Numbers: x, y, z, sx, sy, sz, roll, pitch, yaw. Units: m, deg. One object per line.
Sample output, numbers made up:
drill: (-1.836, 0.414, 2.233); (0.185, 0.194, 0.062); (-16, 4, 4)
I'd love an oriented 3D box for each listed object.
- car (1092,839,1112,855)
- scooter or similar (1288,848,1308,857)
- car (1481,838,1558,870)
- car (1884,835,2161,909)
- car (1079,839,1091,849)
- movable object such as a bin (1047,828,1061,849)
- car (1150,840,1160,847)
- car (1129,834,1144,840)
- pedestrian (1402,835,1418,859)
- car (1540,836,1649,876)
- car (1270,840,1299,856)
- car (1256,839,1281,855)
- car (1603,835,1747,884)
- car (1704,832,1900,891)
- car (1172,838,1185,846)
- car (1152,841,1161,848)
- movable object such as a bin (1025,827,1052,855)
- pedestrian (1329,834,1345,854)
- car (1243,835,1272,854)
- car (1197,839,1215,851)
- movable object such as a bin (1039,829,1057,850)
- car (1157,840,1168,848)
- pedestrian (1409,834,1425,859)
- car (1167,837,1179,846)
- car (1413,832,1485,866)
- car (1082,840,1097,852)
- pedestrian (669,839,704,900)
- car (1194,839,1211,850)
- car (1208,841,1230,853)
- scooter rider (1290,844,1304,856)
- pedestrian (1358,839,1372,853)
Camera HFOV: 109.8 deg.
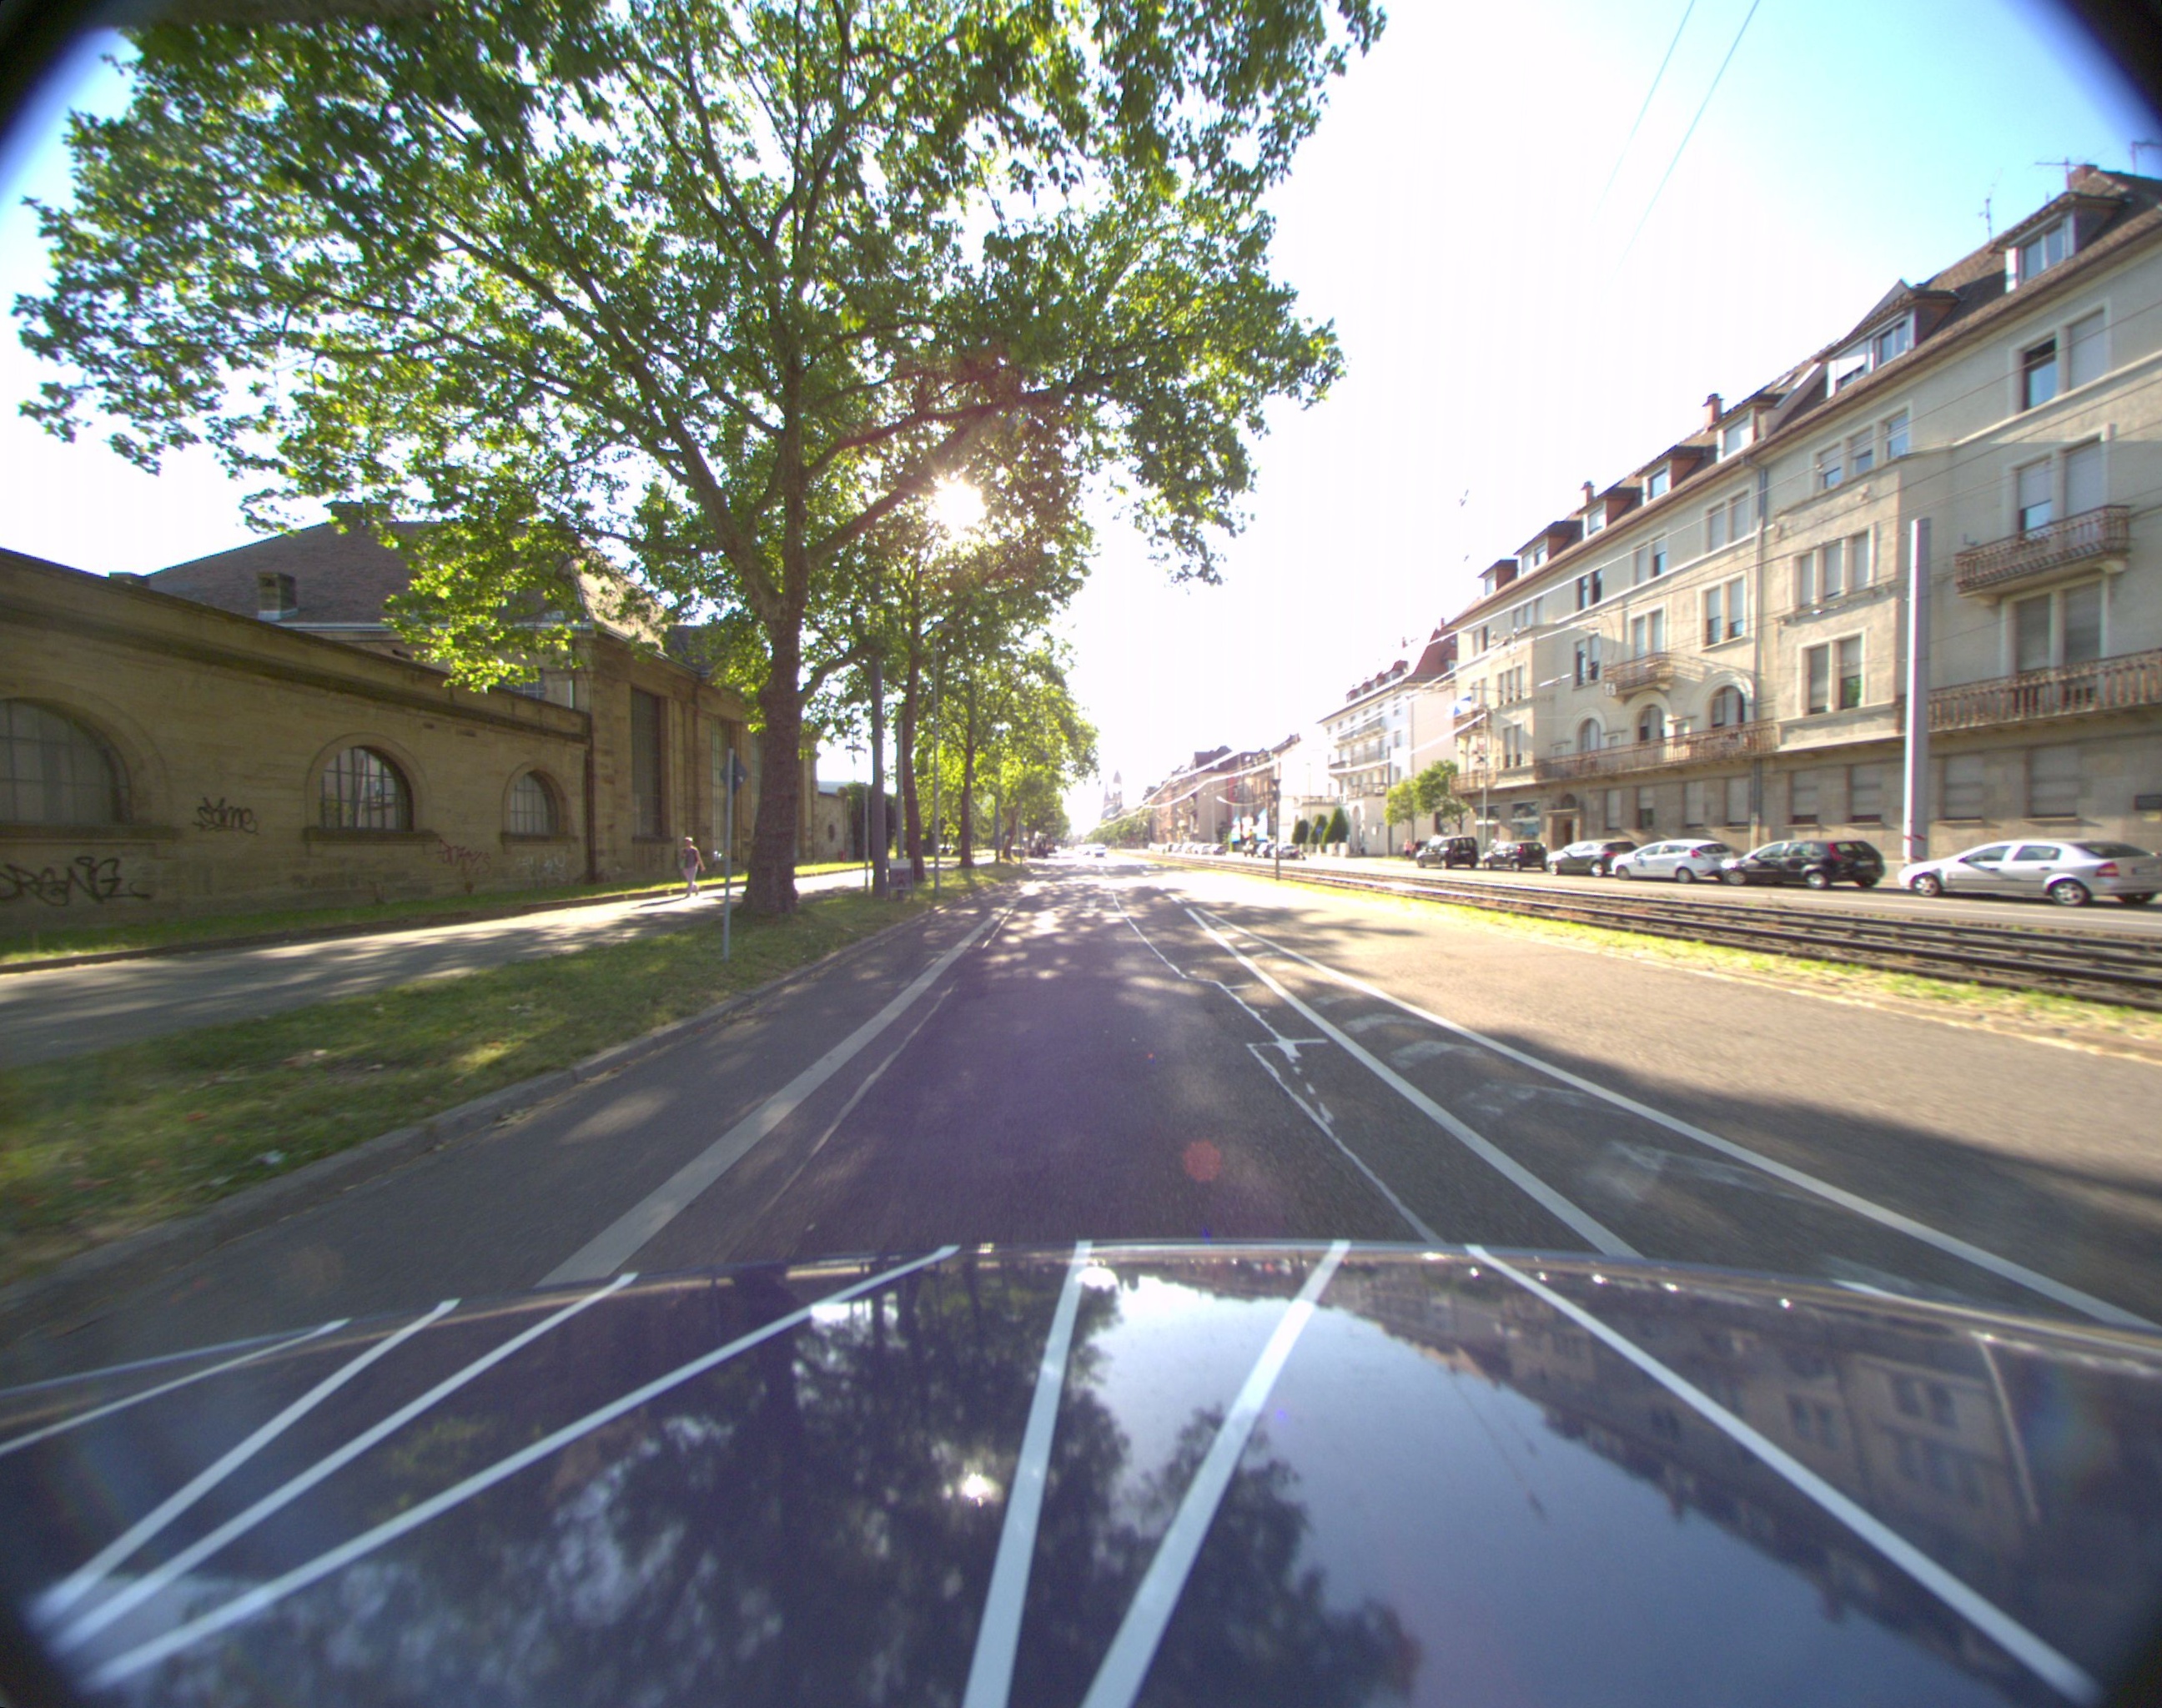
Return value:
car: (2.098, -0.701, 78.270); (1.799, 1.501, 3.999); (-3, 1, -2)
scooter or similar: (19.529, -0.169, 68.504); (1.565, 0.766, 0.809); (1, 1, 30)
car: (21.678, -0.036, 37.687); (1.632, 1.383, 3.507); (-4, 1, -3)
car: (21.792, 0.348, 17.736); (1.639, 1.460, 4.158); (-2, 1, -1)
car: (0.673, -1.703, 127.704); (1.799, 1.501, 3.999); (-3, 1, -2)
movable object such as a bin: (-6.060, -3.429, 169.219); (2.922, 4.584, 7.594); (2, 1, -3)
car: (17.830, -2.452, 182.985); (1.798, 1.634, 4.629); (-2, 1, 1)
car: (16.605, -5.178, 228.211); (3.991, 1.502, 1.802); (-2, 2, 20)
pedestrian: (23.147, -0.489, 53.425); (0.855, 1.687, 0.592); (-1, 3, 35)
car: (21.414, 0.036, 31.899); (1.639, 1.460, 4.157); (-4, 1, -2)
car: (20.110, -0.606, 75.282); (1.799, 1.502, 3.999); (-3, 2, 0)
car: (19.948, -0.765, 80.831); (1.639, 1.499, 4.157); (-3, 2, 1)
car: (21.123, 0.151, 27.242); (1.640, 1.460, 3.980); (-6, 1, -8)
car: (21.574, 0.186, 22.994); (1.640, 1.460, 4.156); (-6, 1, -6)
car: (18.697, -2.292, 145.762); (1.926, 1.529, 4.626); (-2, 1, -1)
car: (17.783, -2.239, 178.413); (1.664, 1.437, 3.764); (-2, 1, -1)
movable object such as a bin: (-4.942, -1.499, 89.873); (2.751, 3.127, 7.217); (3, 1, 0)
pedestrian: (23.448, -0.923, 69.484); (0.995, 1.768, 0.933); (-3, 2, -16)
car: (20.169, -1.123, 87.013); (2.082, 1.999, 5.590); (-3, 1, 1)
car: (19.067, -1.360, 115.827); (1.925, 1.685, 4.841); (-2, 1, 1)
movable object such as a bin: (-6.584, -2.892, 149.293); (3.348, 3.954, 7.594); (2, 1, -3)
car: (17.965, -2.225, 166.922); (1.799, 1.797, 3.998); (-2, 1, -3)
pedestrian: (23.796, -0.530, 53.795); (0.855, 1.687, 0.592); (-1, 3, 35)
car: (18.355, -2.522, 152.060); (1.664, 1.797, 4.726); (-2, 1, -3)
car: (21.033, -0.301, 43.644); (1.867, 1.776, 4.400); (-3, 1, -2)
car: (1.090, -1.120, 102.757); (1.799, 1.501, 3.999); (-3, 1, -2)
pedestrian: (-11.048, 0.424, 21.301); (0.609, 1.672, 0.636); (3, 1, -3)
car: (19.418, -1.569, 121.568); (1.925, 1.552, 4.841); (-3, 2, 1)
car: (19.280, -1.024, 106.512); (1.926, 1.452, 4.840); (-6, 1, -3)
scooter rider: (19.491, -0.366, 68.517); (0.976, 1.083, 0.809); (1, 1, 30)
pedestrian: (25.995, -0.718, 69.500); (0.879, 1.181, 0.894); (-3, 2, -9)
